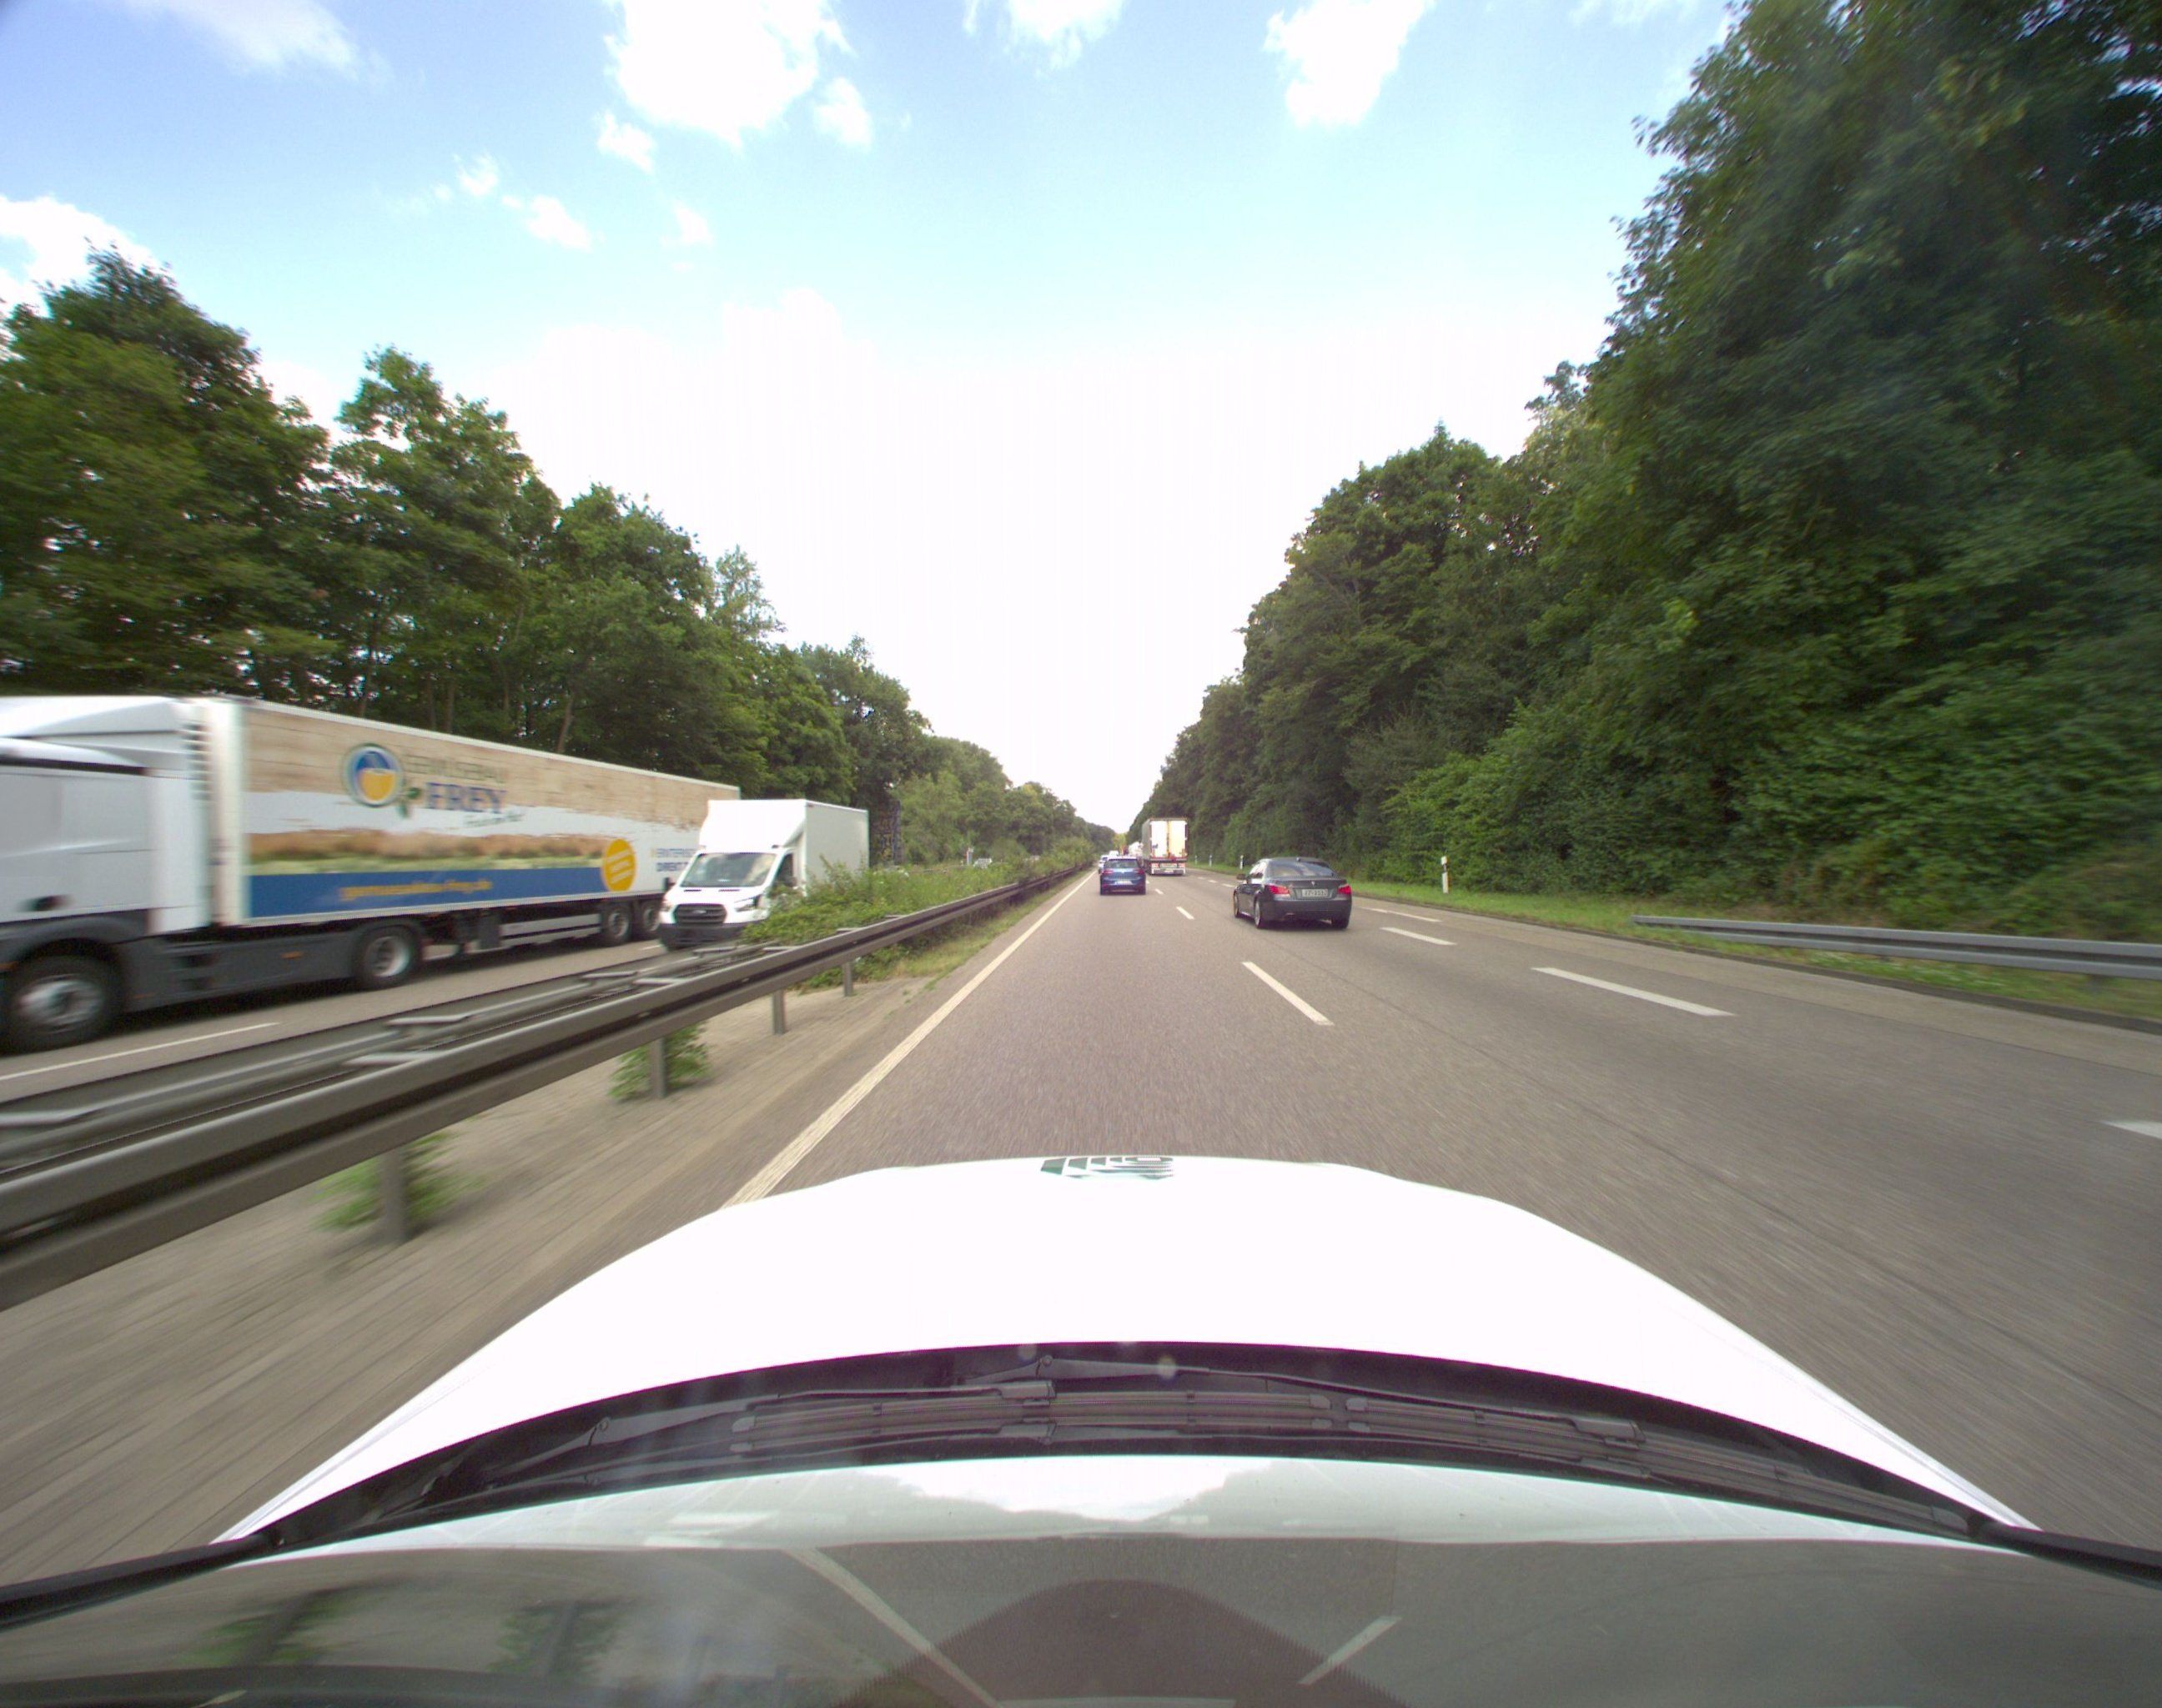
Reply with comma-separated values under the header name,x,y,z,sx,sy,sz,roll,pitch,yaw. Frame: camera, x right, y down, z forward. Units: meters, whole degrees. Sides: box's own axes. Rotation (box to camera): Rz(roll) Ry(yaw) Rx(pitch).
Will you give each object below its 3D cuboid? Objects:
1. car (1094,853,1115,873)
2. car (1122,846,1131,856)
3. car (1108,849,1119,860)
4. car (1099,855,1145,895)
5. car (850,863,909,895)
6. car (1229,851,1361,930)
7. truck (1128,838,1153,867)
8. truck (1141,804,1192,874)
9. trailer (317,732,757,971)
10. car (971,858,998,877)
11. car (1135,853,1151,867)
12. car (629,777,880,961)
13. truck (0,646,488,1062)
name,x,y,z,sx,sy,sz,roll,pitch,yaw
car,1.930,0.721,66.038,1.659,1.500,4.155,-1,0,3
car,10.829,-0.800,194.271,1.987,2.327,4.441,-2,0,0
car,7.013,0.179,176.029,1.987,2.255,4.441,-2,0,0
car,1.591,0.783,32.039,1.699,1.470,4.002,0,0,2
car,-10.334,1.241,42.057,1.728,1.473,4.472,-2,0,2
car,4.472,0.697,17.801,1.767,1.475,4.882,0,0,2
truck,9.513,-0.149,131.710,3.221,4.386,12.972,-1,-1,1
truck,6.253,-1.037,61.147,3.228,4.716,11.017,-2,0,3
trailer,-11.304,0.015,18.910,3.047,4.042,9.982,-1,-1,3
car,-8.944,1.234,75.677,1.821,1.661,4.597,0,0,2
car,8.024,0.804,105.082,1.881,1.729,4.003,-2,0,3
car,-6.756,0.267,18.225,2.279,3.232,7.291,-2,0,2
truck,-11.735,0.016,10.475,3.028,3.986,6.753,-1,0,3
